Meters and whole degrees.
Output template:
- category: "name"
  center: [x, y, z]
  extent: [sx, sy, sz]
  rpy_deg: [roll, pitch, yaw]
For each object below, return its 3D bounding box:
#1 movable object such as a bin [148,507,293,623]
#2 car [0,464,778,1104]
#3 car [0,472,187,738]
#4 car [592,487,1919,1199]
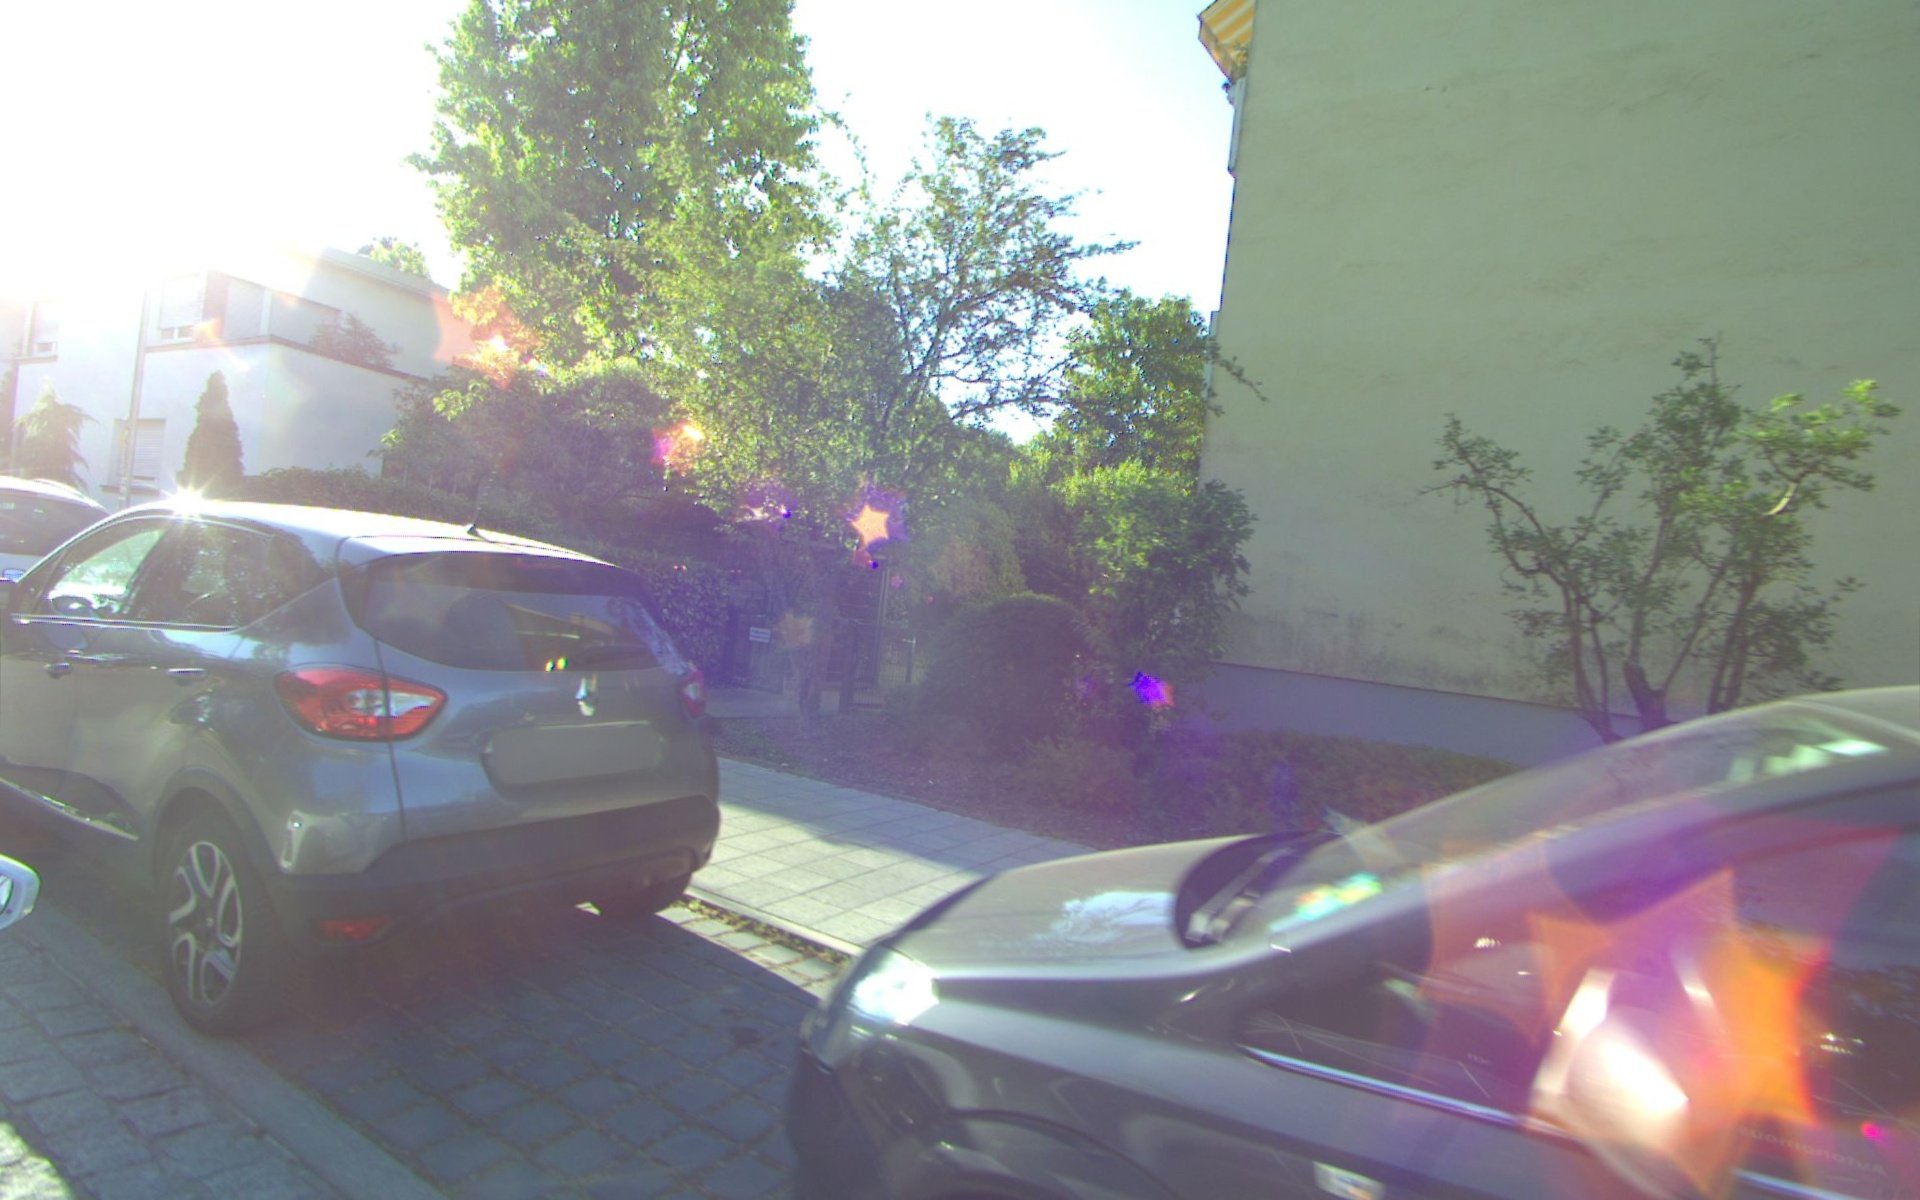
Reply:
- category: "movable object such as a bin"
  center: [-10.551, -0.488, 14.373]
  extent: [1.105, 1.449, 1.238]
  rpy_deg: [6, -1, 34]
- category: "car"
  center: [-2.948, 0.355, 4.328]
  extent: [4.076, 1.575, 1.680]
  rpy_deg: [6, 1, 32]
- category: "car"
  center: [-7.329, -0.147, 7.085]
  extent: [4.063, 1.575, 1.679]
  rpy_deg: [6, 1, 33]
- category: "car"
  center: [1.549, 0.850, 1.508]
  extent: [4.099, 1.631, 1.711]
  rpy_deg: [7, 1, 31]
